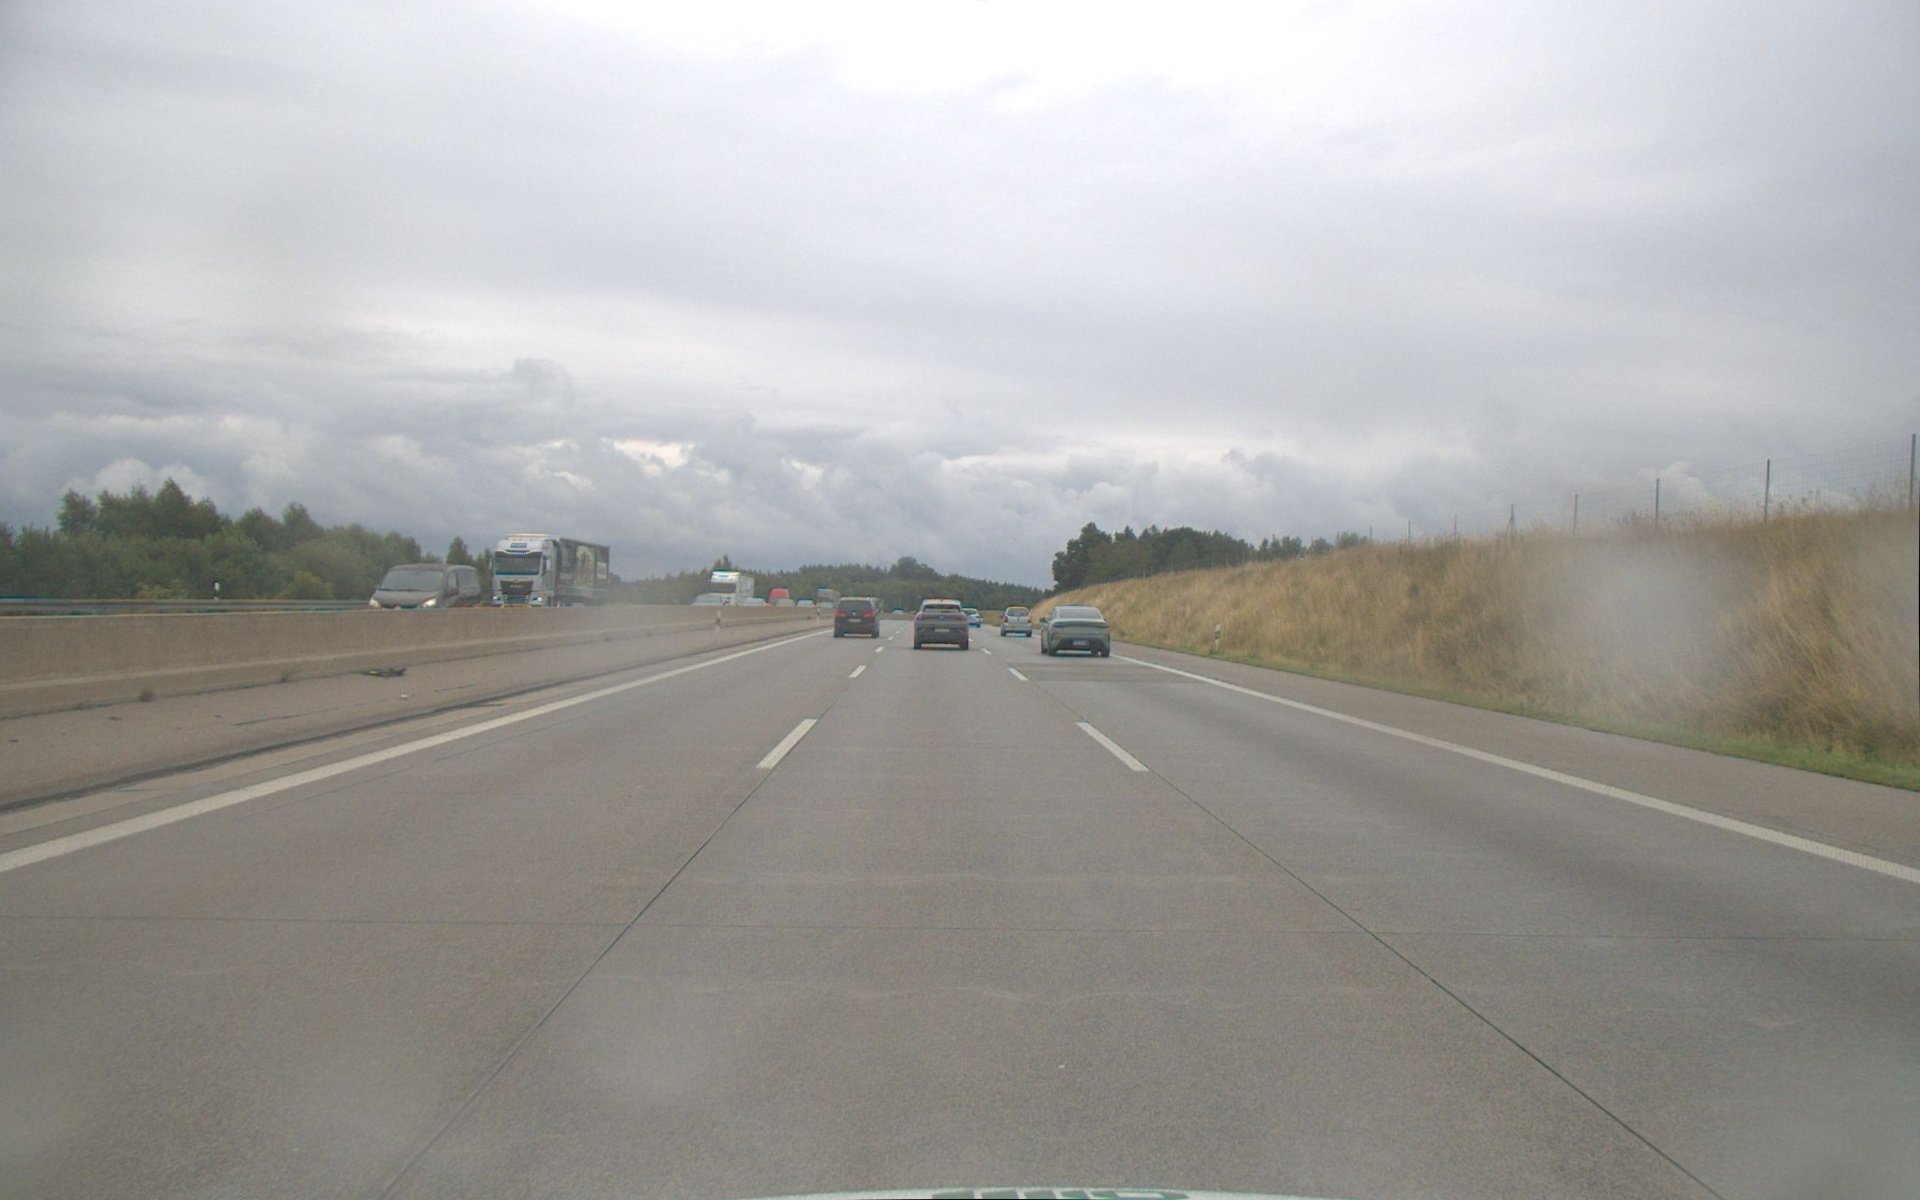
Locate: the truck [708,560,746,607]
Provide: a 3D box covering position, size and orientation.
[{"bbox_3d":[-22.299,-1.591,158.470,2.825,4.366,7.134,1,0,-2],"label":"truck"}]

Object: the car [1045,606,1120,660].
[{"bbox_3d":[3.666,0.960,50.197,1.973,1.471,4.745,1,0,1],"label":"car"}]

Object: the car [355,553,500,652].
[{"bbox_3d":[-12.695,0.032,39.754,1.953,2.184,4.862,1,0,-1],"label":"car"}]

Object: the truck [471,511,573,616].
[{"bbox_3d":[-21.426,-1.774,81.259,3.515,4.903,5.867,1,0,-2],"label":"truck"}]

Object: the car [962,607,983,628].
[{"bbox_3d":[0.998,1.366,131.868,1.456,1.496,3.504,4,0,-1],"label":"car"}]

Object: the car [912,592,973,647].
[{"bbox_3d":[-0.643,0.609,55.465,1.860,1.719,5.264,1,0,-3],"label":"car"}]

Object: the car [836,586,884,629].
[{"bbox_3d":[-4.265,0.285,71.086,1.748,1.777,3.915,1,0,1],"label":"car"}]

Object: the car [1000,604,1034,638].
[{"bbox_3d":[2.841,1.036,83.067,1.456,1.496,3.504,4,0,-1],"label":"car"}]

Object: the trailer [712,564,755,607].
[{"bbox_3d":[-22.487,-1.474,164.624,2.829,4.072,13.010,1,0,-2],"label":"trailer"}]

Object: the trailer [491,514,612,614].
[{"bbox_3d":[-21.617,-1.847,88.526,3.526,4.883,12.904,1,0,-2],"label":"trailer"}]
